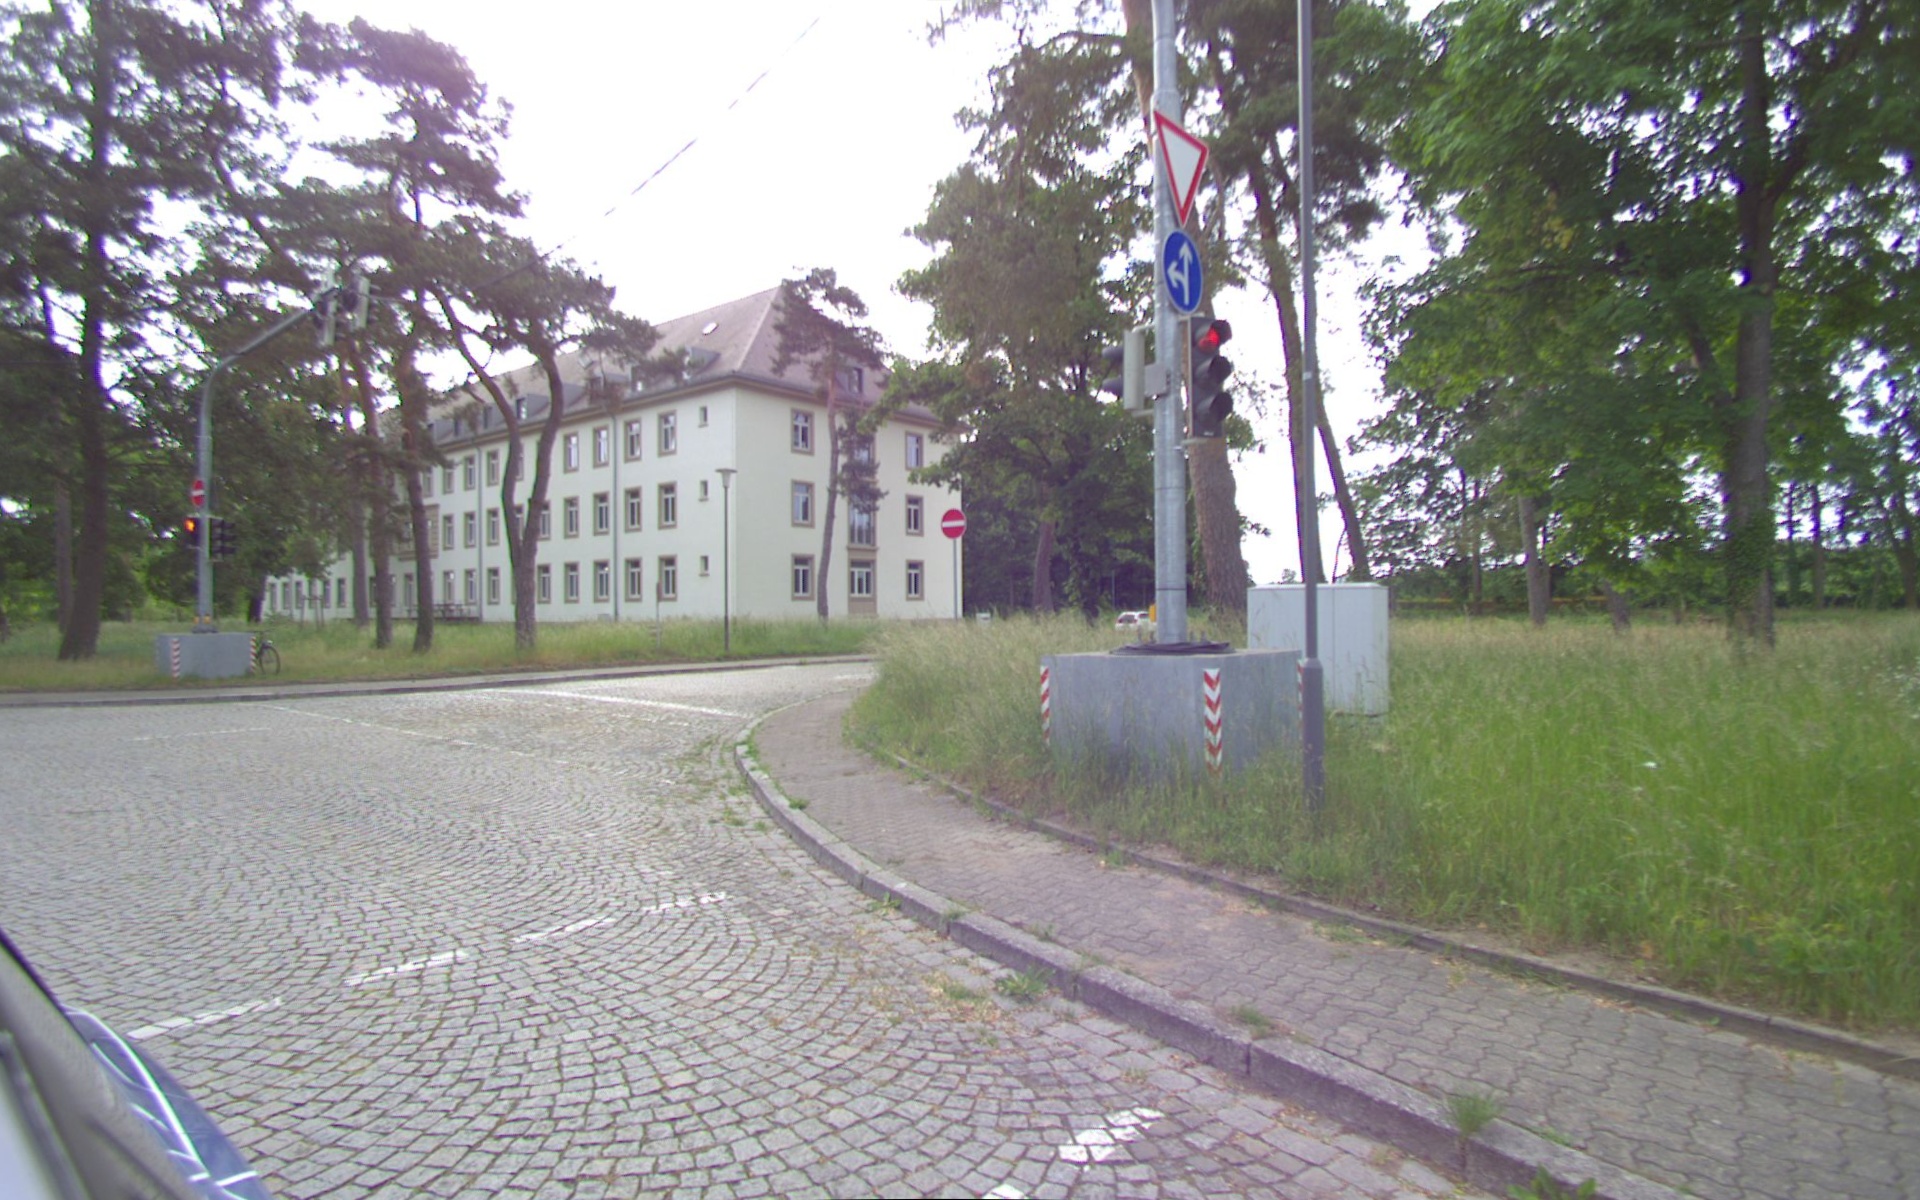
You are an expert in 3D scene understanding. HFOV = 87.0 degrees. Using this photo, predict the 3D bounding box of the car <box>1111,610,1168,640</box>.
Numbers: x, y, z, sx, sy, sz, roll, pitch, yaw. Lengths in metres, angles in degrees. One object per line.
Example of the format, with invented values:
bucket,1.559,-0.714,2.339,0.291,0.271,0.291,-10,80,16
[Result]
car,11.447,1.561,64.406,1.721,1.820,3.945,-1,-1,41

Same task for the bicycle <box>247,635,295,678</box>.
bicycle,-14.893,1.213,21.877,1.045,0.923,0.292,-1,-1,18
